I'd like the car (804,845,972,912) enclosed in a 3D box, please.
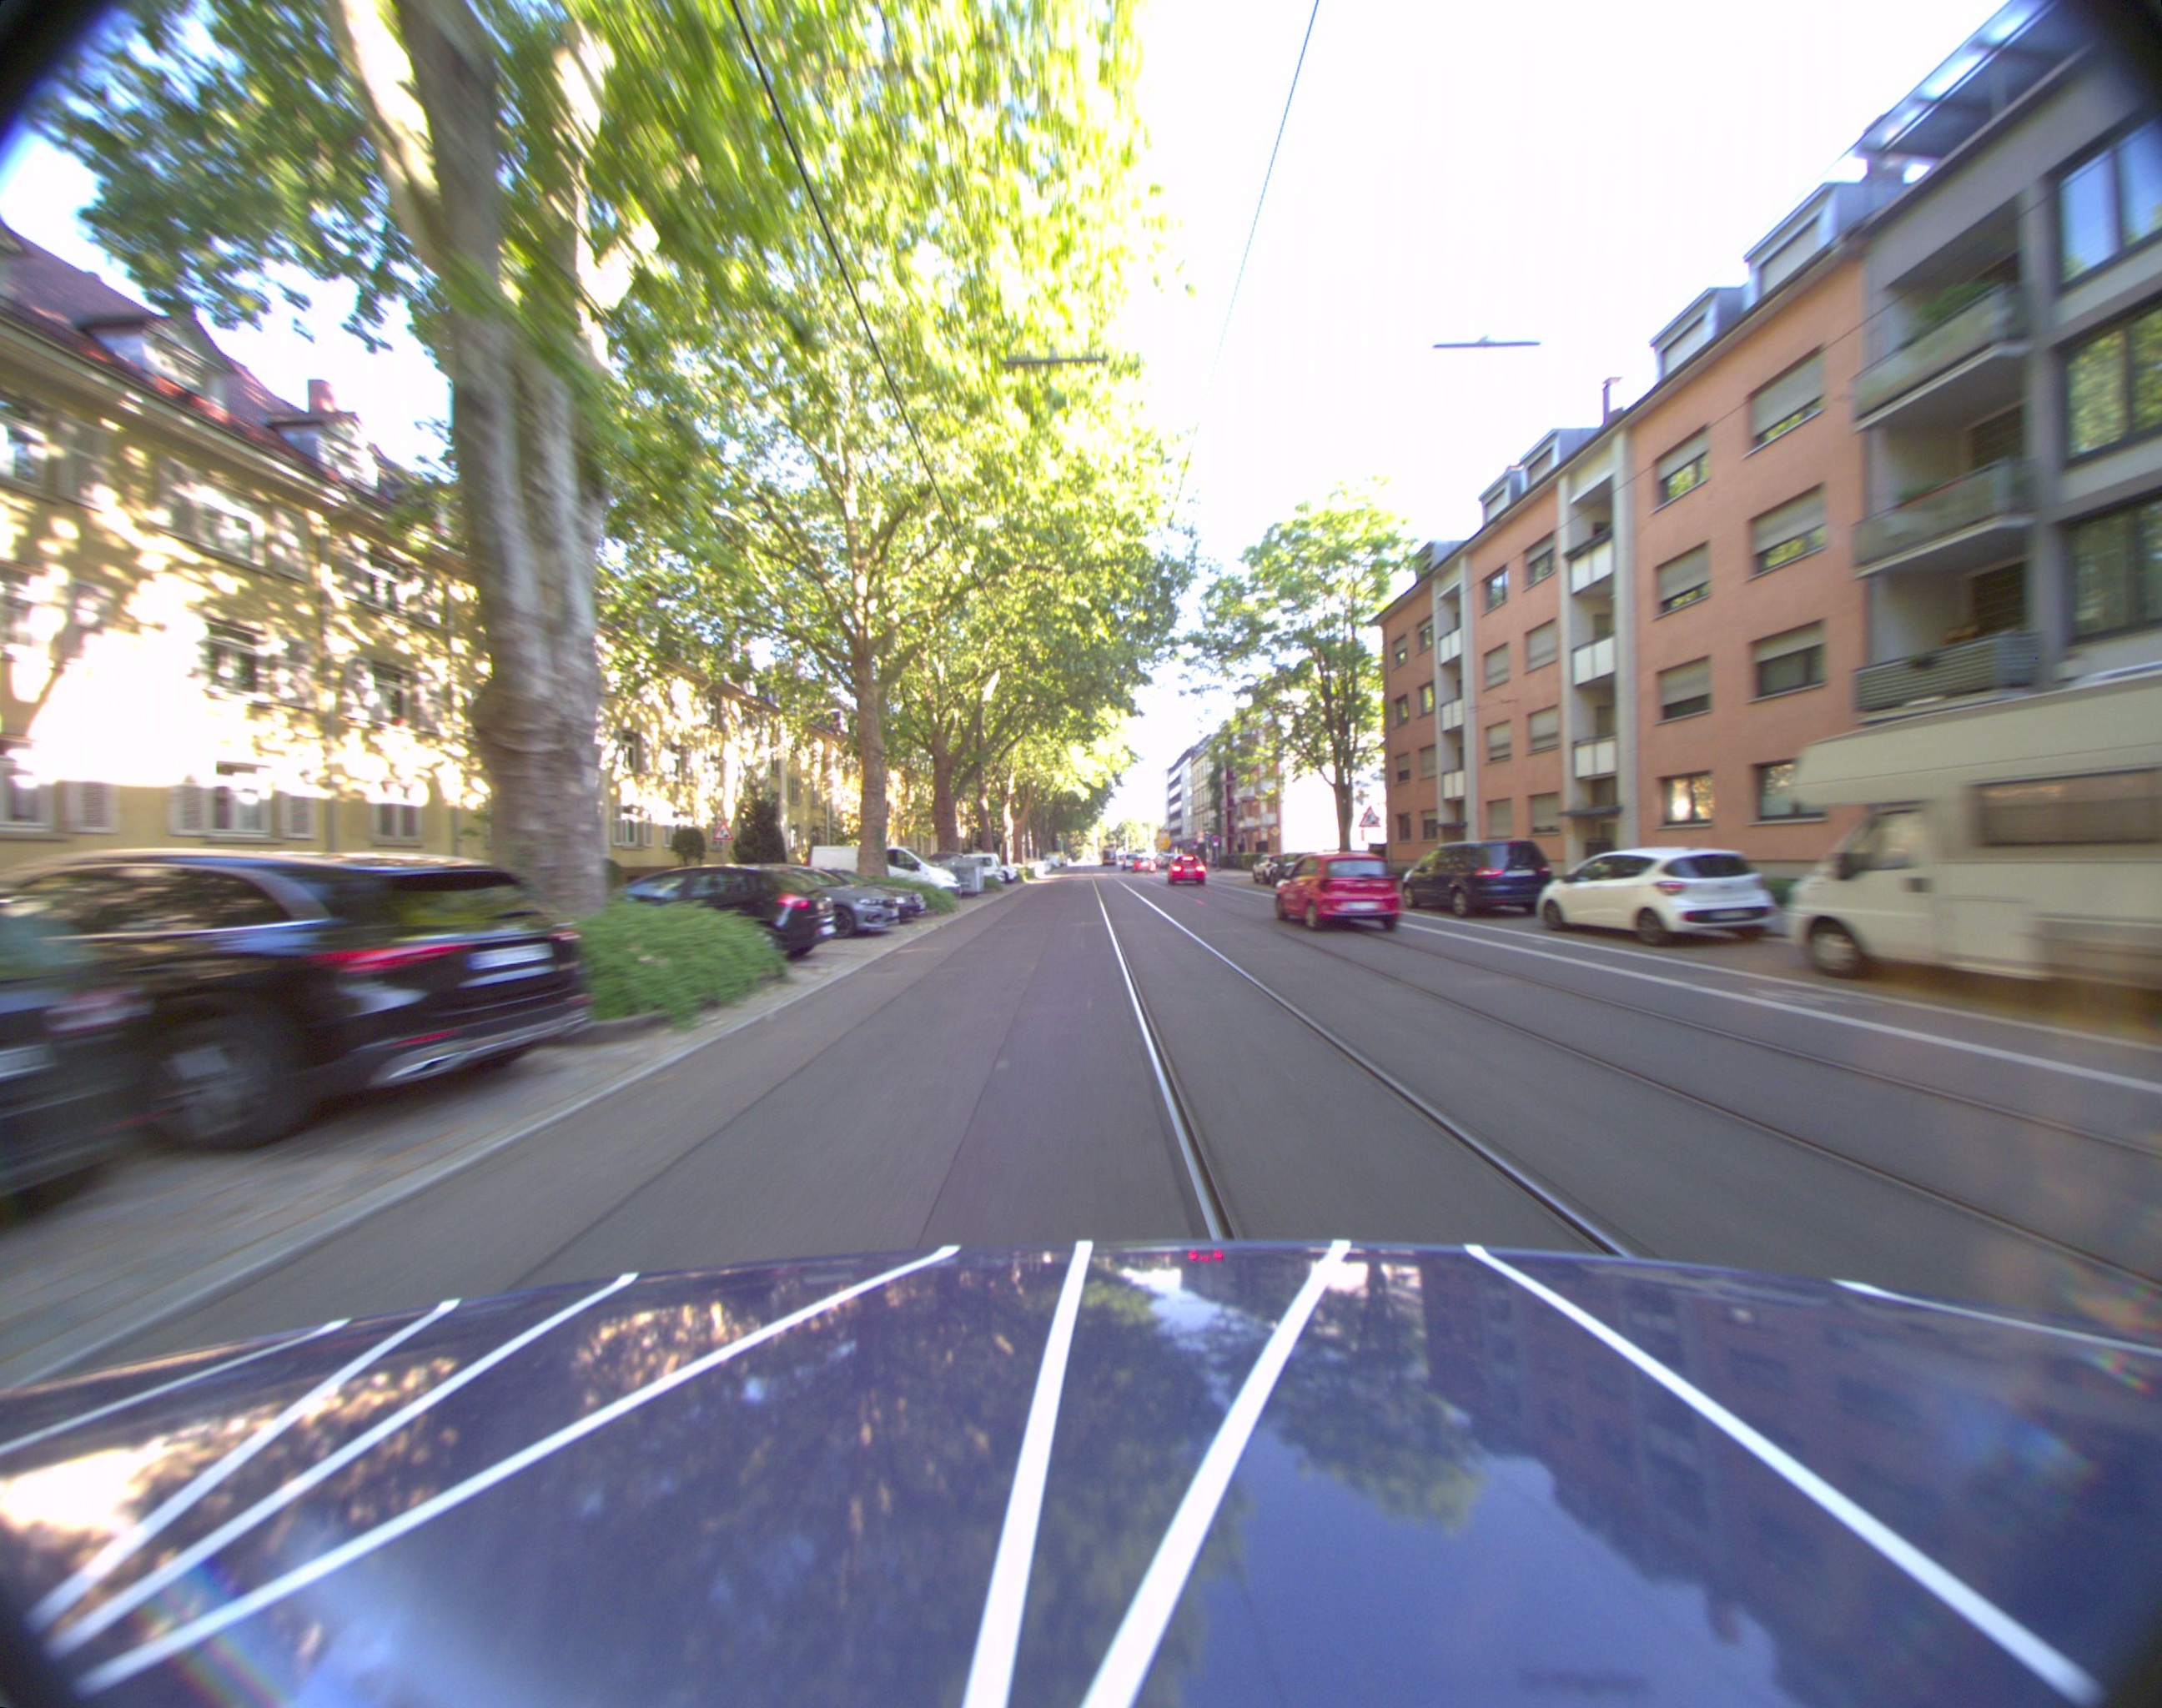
[{"bbox_3d":[-6.088,0.744,24.456,4.849,1.952,2.064,-1,0,-2],"label":"car"}]

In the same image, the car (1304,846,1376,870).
[{"bbox_3d":[18.550,0.285,54.522,4.544,1.597,1.937,-1,2,1],"label":"car"}]

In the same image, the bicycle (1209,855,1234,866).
[{"bbox_3d":[14.970,0.659,81.025,2.457,1.056,0.699,-3,1,-2],"label":"bicycle"}]

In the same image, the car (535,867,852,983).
[{"bbox_3d":[-5.663,1.011,11.456,3.848,1.501,1.710,-1,0,0],"label":"car"}]

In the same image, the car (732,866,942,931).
[{"bbox_3d":[-5.777,1.045,18.298,4.406,1.372,1.804,-1,1,4],"label":"car"}]

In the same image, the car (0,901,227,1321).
[{"bbox_3d":[-5.937,1.026,2.770,3.687,1.538,1.777,-1,1,2],"label":"car"}]

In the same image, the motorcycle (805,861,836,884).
[{"bbox_3d":[-13.137,0.917,38.372,0.717,1.146,2.264,0,0,1],"label":"motorcycle"}]

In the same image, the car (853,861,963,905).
[{"bbox_3d":[-6.080,0.999,27.049,3.536,1.438,1.672,-1,0,-2],"label":"car"}]

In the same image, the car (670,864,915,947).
[{"bbox_3d":[-5.750,1.012,15.553,4.258,1.475,1.898,-1,0,0],"label":"car"}]

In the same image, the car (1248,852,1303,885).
[{"bbox_3d":[9.864,0.690,38.822,1.811,1.469,4.089,-3,0,1],"label":"car"}]

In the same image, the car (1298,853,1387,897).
[{"bbox_3d":[9.646,0.725,28.401,1.742,1.392,4.382,-3,0,-1],"label":"car"}]

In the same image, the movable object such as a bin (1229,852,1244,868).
[{"bbox_3d":[13.799,0.518,67.328,1.214,1.357,0.747,-1,1,2],"label":"movable object such as a bin"}]

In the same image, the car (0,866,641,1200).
[{"bbox_3d":[-5.716,0.925,5.010,4.506,1.593,2.028,1,1,4],"label":"car"}]

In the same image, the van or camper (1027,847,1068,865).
[{"bbox_3d":[-4.996,0.342,115.072,5.939,2.614,2.270,-1,1,3],"label":"van or camper"}]

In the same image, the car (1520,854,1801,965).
[{"bbox_3d":[9.498,0.806,12.911,1.714,1.479,3.861,-4,0,-1],"label":"car"}]

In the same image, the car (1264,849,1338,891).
[{"bbox_3d":[9.520,0.658,33.292,1.786,1.601,4.587,-4,0,-1],"label":"car"}]

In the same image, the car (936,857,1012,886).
[{"bbox_3d":[-5.864,0.951,41.913,3.852,1.424,1.852,-1,0,4],"label":"car"}]

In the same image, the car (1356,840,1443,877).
[{"bbox_3d":[19.612,0.278,46.954,2.003,2.111,4.712,-2,1,-28],"label":"car"}]

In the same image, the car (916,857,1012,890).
[{"bbox_3d":[-5.760,0.950,37.786,4.380,1.533,1.802,-1,0,4],"label":"car"}]

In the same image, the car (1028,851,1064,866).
[{"bbox_3d":[-4.805,0.612,105.411,4.847,2.001,2.063,-1,0,0],"label":"car"}]

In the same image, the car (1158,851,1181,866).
[{"bbox_3d":[10.166,0.511,87.802,1.957,1.639,4.881,-3,1,-1],"label":"car"}]

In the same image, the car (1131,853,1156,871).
[{"bbox_3d":[5.262,0.683,64.308,1.780,1.449,4.202,0,0,0],"label":"car"}]

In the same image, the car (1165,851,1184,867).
[{"bbox_3d":[10.125,0.513,82.431,1.630,1.563,3.781,-3,1,2],"label":"car"}]

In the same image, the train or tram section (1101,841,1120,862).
[{"bbox_3d":[5.278,-0.441,137.131,2.916,3.465,14.197,-1,0,0],"label":"train or tram section"}]

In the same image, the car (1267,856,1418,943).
[{"bbox_3d":[5.080,0.806,15.322,1.667,1.470,3.950,-1,0,0],"label":"car"}]

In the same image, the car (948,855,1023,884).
[{"bbox_3d":[-5.488,0.877,44.228,4.098,1.512,1.916,-1,1,-1],"label":"car"}]

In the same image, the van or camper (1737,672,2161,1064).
[{"bbox_3d":[9.469,0.038,6.372,2.343,3.023,6.397,-4,0,1],"label":"van or camper"}]

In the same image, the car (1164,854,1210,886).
[{"bbox_3d":[5.255,0.765,38.122,1.727,1.428,4.069,-1,0,0],"label":"car"}]

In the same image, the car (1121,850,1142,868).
[{"bbox_3d":[5.317,0.515,81.095,1.896,1.821,4.895,-1,0,0],"label":"car"}]

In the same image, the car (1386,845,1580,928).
[{"bbox_3d":[9.457,0.685,18.494,1.957,1.676,5.070,-2,0,-1],"label":"car"}]

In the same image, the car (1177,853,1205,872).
[{"bbox_3d":[9.697,0.731,67.125,1.729,1.474,3.930,-4,0,-1],"label":"car"}]

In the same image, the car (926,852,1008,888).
[{"bbox_3d":[-5.944,0.803,39.950,3.852,1.761,1.917,-1,0,4],"label":"car"}]

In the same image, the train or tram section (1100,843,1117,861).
[{"bbox_3d":[5.377,-0.376,150.966,2.916,3.465,13.369,-1,0,0],"label":"train or tram section"}]
